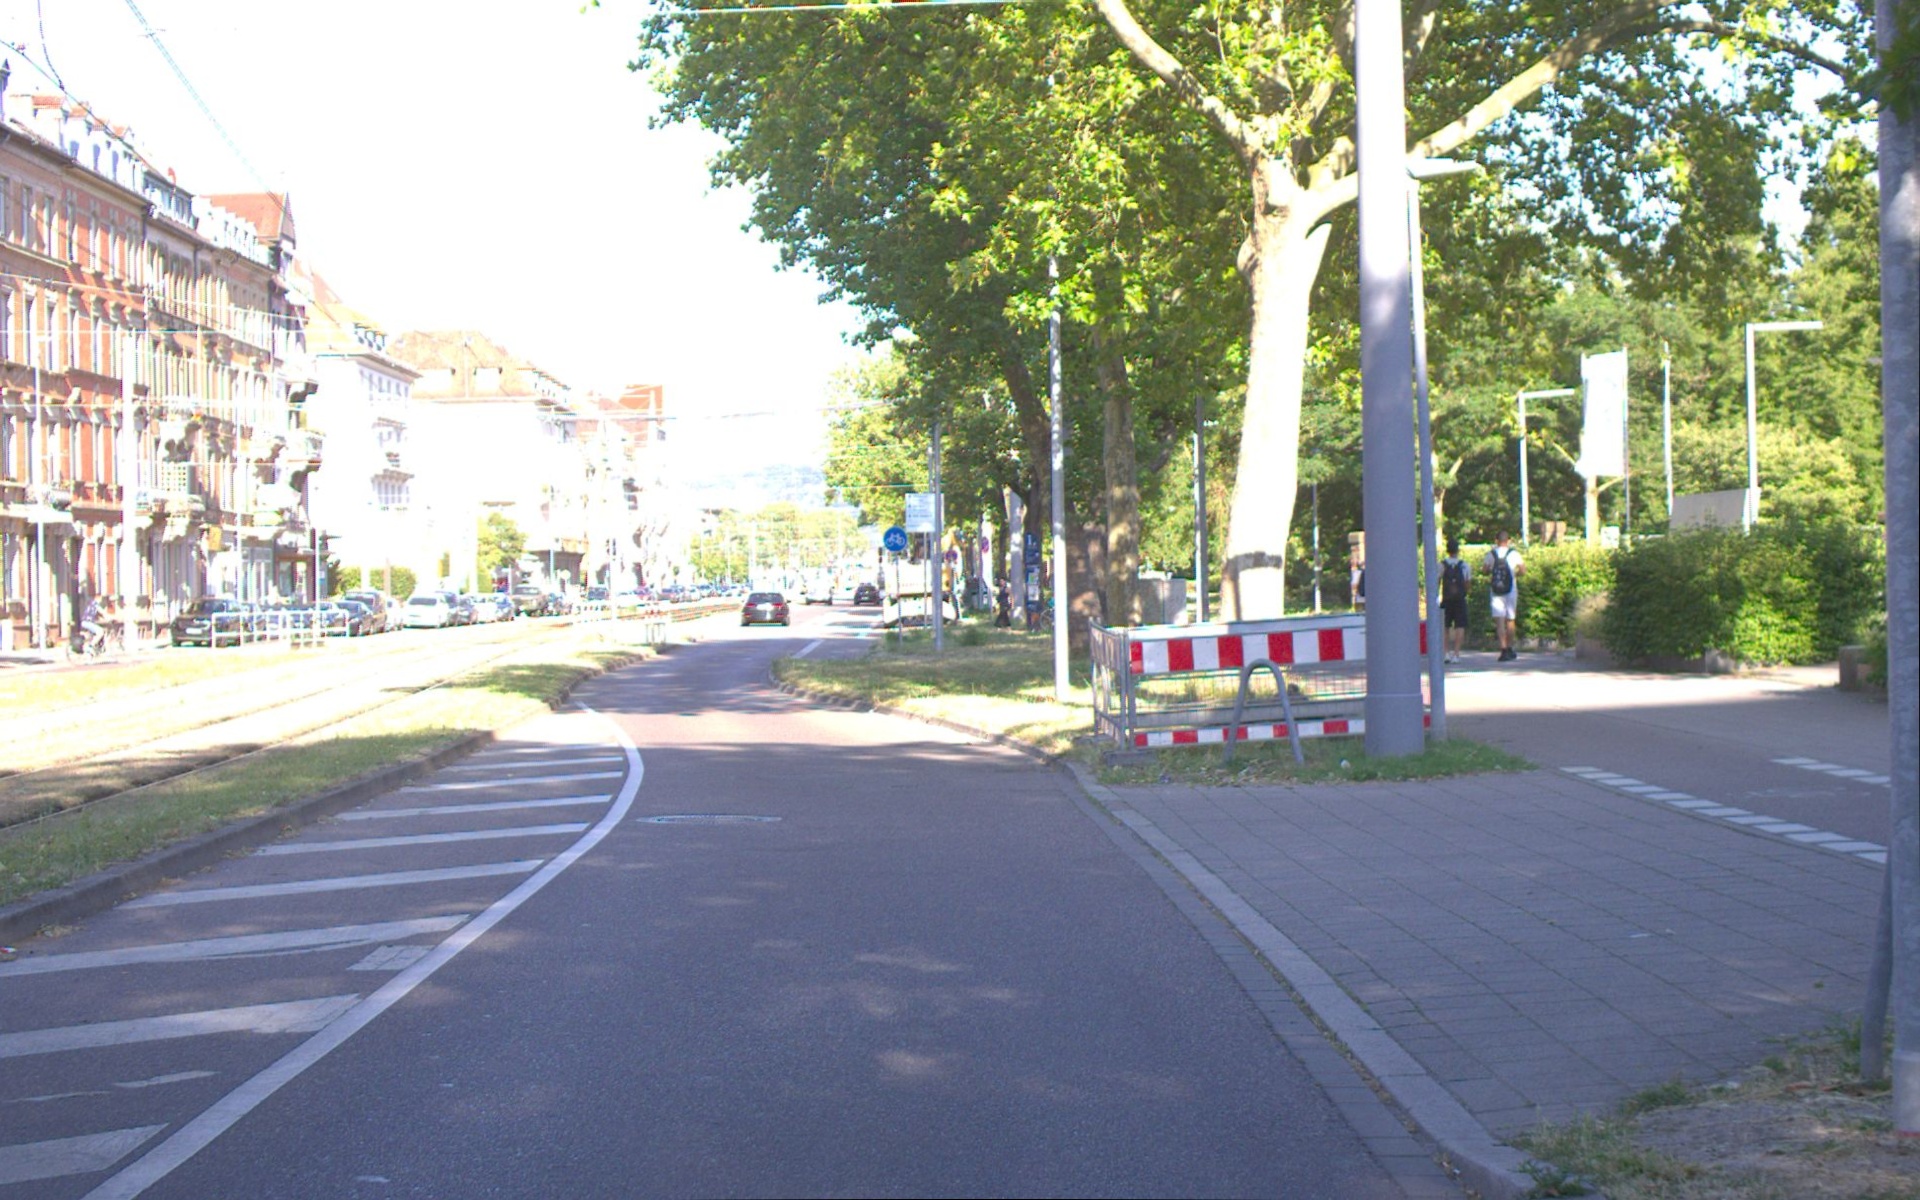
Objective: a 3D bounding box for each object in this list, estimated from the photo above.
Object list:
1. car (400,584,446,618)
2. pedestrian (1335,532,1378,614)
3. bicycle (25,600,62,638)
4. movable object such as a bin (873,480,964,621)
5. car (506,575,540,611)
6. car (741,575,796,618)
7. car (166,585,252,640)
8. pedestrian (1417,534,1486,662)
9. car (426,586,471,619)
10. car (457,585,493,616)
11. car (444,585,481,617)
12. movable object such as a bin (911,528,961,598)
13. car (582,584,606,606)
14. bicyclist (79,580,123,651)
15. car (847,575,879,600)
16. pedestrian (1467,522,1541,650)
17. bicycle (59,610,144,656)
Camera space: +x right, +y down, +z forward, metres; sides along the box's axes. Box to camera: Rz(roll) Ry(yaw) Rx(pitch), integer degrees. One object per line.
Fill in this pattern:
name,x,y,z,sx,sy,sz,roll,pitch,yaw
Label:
car,-26.263,0.034,168.163,1.741,1.555,3.768,1,1,-1
pedestrian,7.566,-0.518,65.609,0.650,1.534,0.783,-2,0,-1
bicycle,-29.144,0.597,109.308,0.699,1.176,1.751,1,0,0
movable object such as a bin,-1.646,-1.875,132.243,3.087,5.071,8.892,-4,0,-1
car,-27.094,-0.438,213.186,1.658,2.132,3.526,1,1,-1
car,-7.709,-0.146,138.538,1.993,1.678,4.000,1,0,-1
car,-25.732,0.418,117.882,2.015,1.748,4.558,1,1,-1
pedestrian,7.013,-0.031,49.044,0.750,1.787,1.086,-2,0,0
car,-25.731,0.131,172.929,1.741,1.555,3.768,1,1,-1
car,-26.084,0.034,185.006,1.527,1.555,3.224,1,1,-1
car,-25.810,0.066,178.472,1.527,1.555,3.224,1,1,-1
movable object such as a bin,-1.091,-1.651,154.415,1.968,3.003,4.797,-4,0,-1
car,-27.312,-0.391,256.745,1.527,1.555,3.224,1,1,-1
bicyclist,-21.915,0.392,87.702,0.919,1.709,0.767,-3,4,-25
car,-7.210,-0.935,254.435,1.993,1.853,4.001,1,0,-7
pedestrian,7.802,-0.197,49.334,0.805,1.787,1.110,-2,0,0
bicycle,-21.908,0.837,87.743,1.953,1.037,0.767,-3,4,-25
